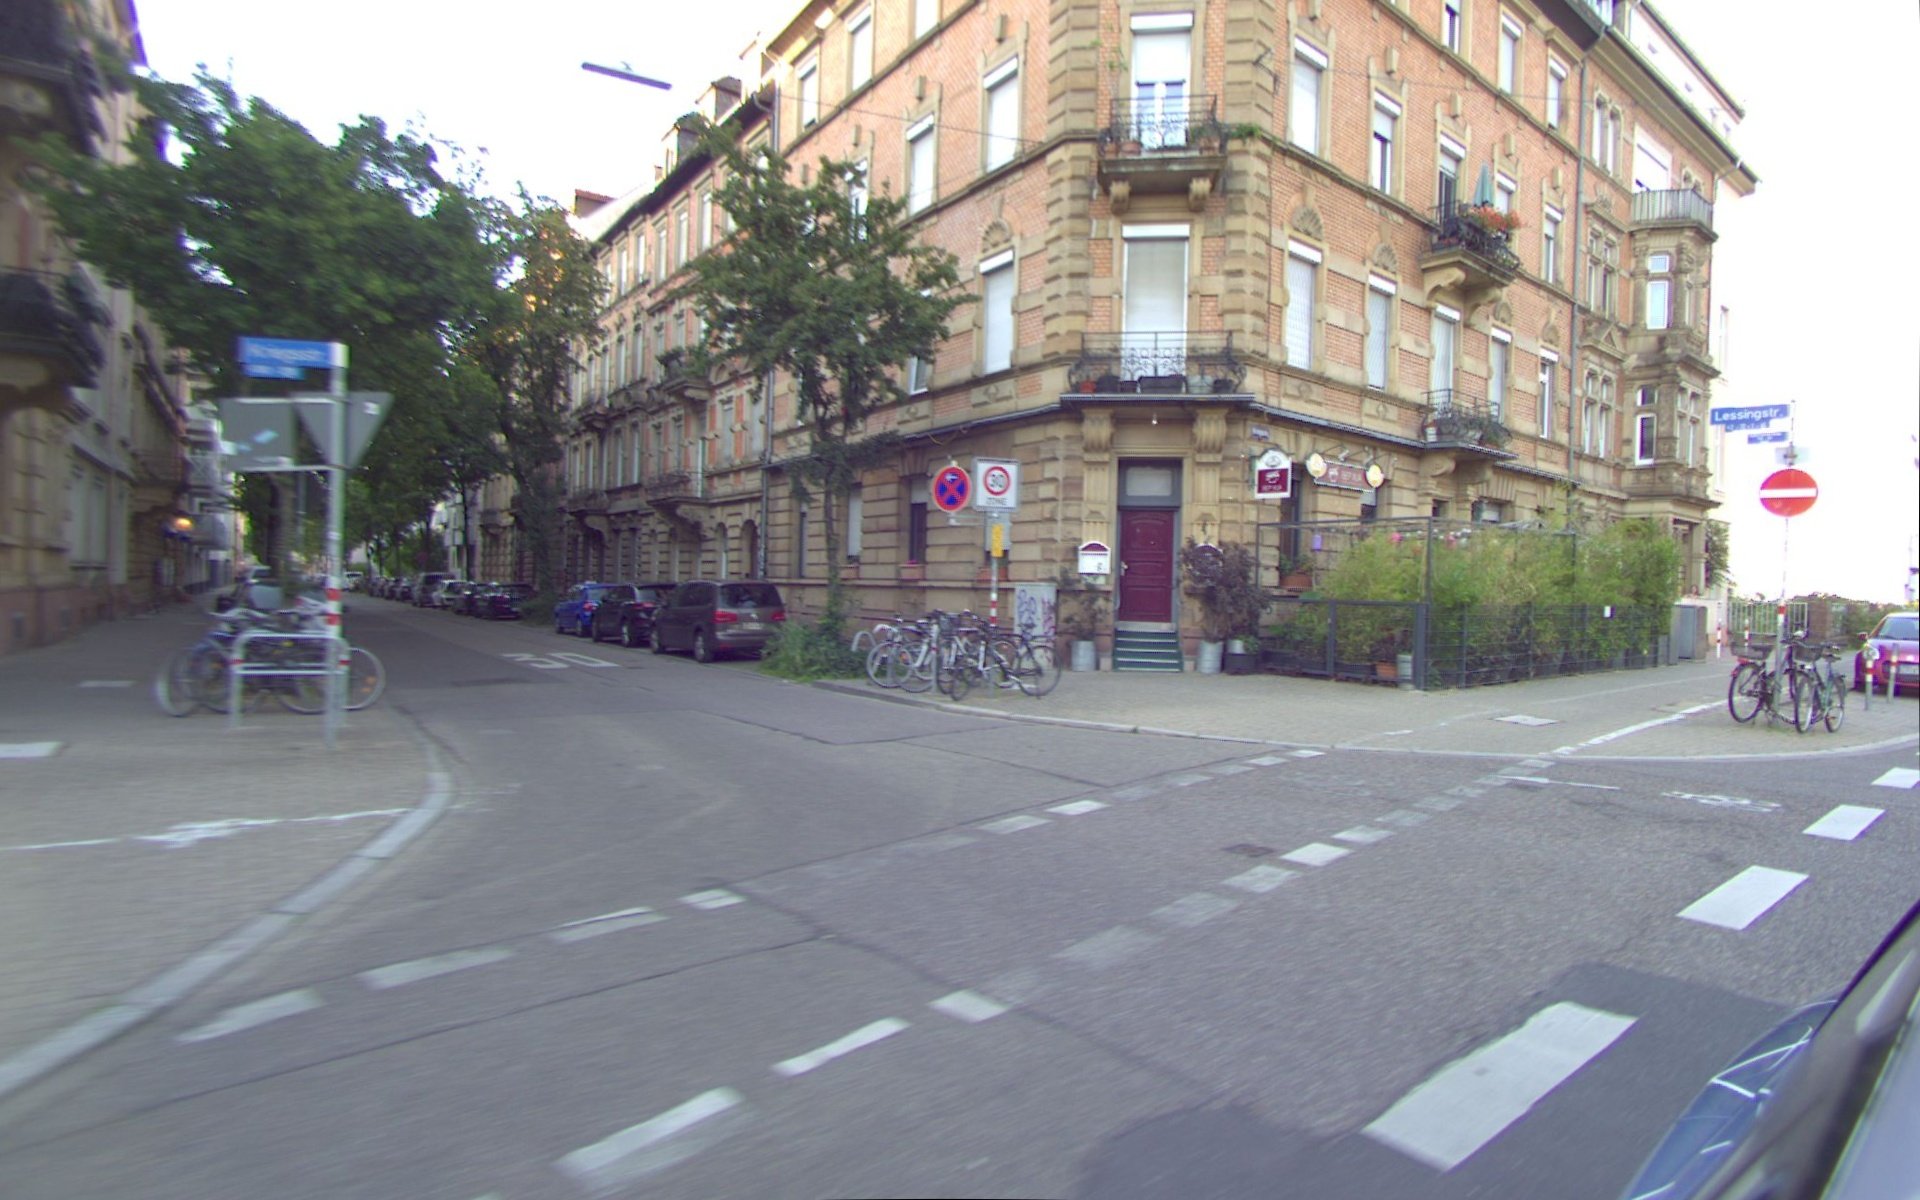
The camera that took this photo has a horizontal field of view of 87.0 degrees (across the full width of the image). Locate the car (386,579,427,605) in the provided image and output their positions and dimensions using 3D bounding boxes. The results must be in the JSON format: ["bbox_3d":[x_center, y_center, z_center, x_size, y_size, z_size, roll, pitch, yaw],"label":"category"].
[{"bbox_3d":[-34.495,-0.520,63.014,1.813,1.499,4.001,1,1,-35],"label":"car"}]

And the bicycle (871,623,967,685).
[{"bbox_3d":[-0.613,0.800,15.273,1.468,0.827,0.295,-2,0,-31],"label":"bicycle"}]

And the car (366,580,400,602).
[{"bbox_3d":[-41.863,-0.666,73.408,1.813,1.499,4.001,1,1,-35],"label":"car"}]

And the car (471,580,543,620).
[{"bbox_3d":[-17.513,-0.039,39.048,1.813,1.436,4.001,1,1,-35],"label":"car"}]

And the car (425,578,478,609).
[{"bbox_3d":[-25.668,-0.344,51.033,1.813,1.499,4.001,1,1,-35],"label":"car"}]

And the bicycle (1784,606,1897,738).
[{"bbox_3d":[10.245,0.776,11.743,2.225,1.314,0.567,-1,6,-41],"label":"bicycle"}]

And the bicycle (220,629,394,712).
[{"bbox_3d":[-6.842,0.751,10.652,1.470,0.828,0.295,5,-4,-40],"label":"bicycle"}]

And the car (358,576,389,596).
[{"bbox_3d":[-46.374,-1.130,79.997,1.813,1.499,4.001,1,1,-35],"label":"car"}]

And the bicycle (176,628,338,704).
[{"bbox_3d":[-8.056,0.769,11.640,1.470,0.828,0.295,5,-4,-40],"label":"bicycle"}]

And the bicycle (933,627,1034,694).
[{"bbox_3d":[0.344,0.826,14.137,1.468,0.827,0.295,-2,0,-31],"label":"bicycle"}]

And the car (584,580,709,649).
[{"bbox_3d":[-7.825,0.304,25.039,1.813,1.542,4.001,1,1,-35],"label":"car"}]

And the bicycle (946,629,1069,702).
[{"bbox_3d":[0.635,0.834,13.144,1.701,0.827,0.295,-2,0,-31],"label":"bicycle"}]

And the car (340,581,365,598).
[{"bbox_3d":[-59.044,-1.016,98.342,1.813,1.499,4.077,1,1,-35],"label":"car"}]

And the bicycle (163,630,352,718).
[{"bbox_3d":[-6.934,0.743,10.056,1.467,0.828,0.296,4,-3,-28],"label":"bicycle"}]

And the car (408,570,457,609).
[{"bbox_3d":[-28.668,-0.582,54.953,1.813,1.996,4.001,1,1,-35],"label":"car"}]

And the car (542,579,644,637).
[{"bbox_3d":[-10.694,0.197,29.347,1.813,1.542,4.001,1,1,-35],"label":"car"}]

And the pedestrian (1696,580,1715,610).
[{"bbox_3d":[21.673,-0.148,29.414,0.313,0.881,0.310,0,-1,-7],"label":"pedestrian"}]

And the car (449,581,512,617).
[{"bbox_3d":[-20.777,-0.076,43.761,1.813,1.436,4.001,1,1,-35],"label":"car"}]

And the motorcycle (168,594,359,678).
[{"bbox_3d":[-10.419,0.555,15.259,2.162,1.137,0.887,4,-3,-21],"label":"motorcycle"}]

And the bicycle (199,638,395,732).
[{"bbox_3d":[-6.195,0.799,9.510,1.470,0.828,0.292,5,-4,-40],"label":"bicycle"}]

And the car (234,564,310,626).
[{"bbox_3d":[-22.703,-0.198,33.408,1.944,1.893,4.001,1,1,-35],"label":"car"}]

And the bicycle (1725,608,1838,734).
[{"bbox_3d":[9.895,0.800,12.159,2.225,1.290,0.567,-1,6,-41],"label":"bicycle"}]

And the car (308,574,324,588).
[{"bbox_3d":[-93.786,-2.803,147.296,1.813,1.913,4.001,1,1,-35],"label":"car"}]

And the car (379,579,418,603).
[{"bbox_3d":[-37.400,-0.607,67.362,1.813,1.499,4.001,1,1,-35],"label":"car"}]

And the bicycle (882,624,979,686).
[{"bbox_3d":[-0.431,0.804,15.004,1.468,0.827,0.295,-2,0,-31],"label":"bicycle"}]

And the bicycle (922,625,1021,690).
[{"bbox_3d":[0.175,0.800,14.407,1.468,0.827,0.295,-2,0,-31],"label":"bicycle"}]

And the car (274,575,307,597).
[{"bbox_3d":[-43.206,-0.939,65.254,1.670,1.351,4.001,1,1,-35],"label":"car"}]

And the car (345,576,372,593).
[{"bbox_3d":[-54.939,-1.411,92.436,1.813,1.499,4.001,1,1,-35],"label":"car"}]

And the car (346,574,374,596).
[{"bbox_3d":[-52.007,-1.302,87.735,1.813,1.859,4.001,1,1,-35],"label":"car"}]

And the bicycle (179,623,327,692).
[{"bbox_3d":[-8.907,0.738,12.791,1.470,0.828,0.295,5,-4,-40],"label":"bicycle"}]

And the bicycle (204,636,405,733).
[{"bbox_3d":[-5.949,0.772,9.240,1.470,0.828,0.292,5,-4,-40],"label":"bicycle"}]

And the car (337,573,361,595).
[{"bbox_3d":[-63.281,-1.674,104.779,1.813,2.261,4.001,1,1,-35],"label":"car"}]

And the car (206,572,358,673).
[{"bbox_3d":[-12.235,0.352,18.232,1.962,1.527,4.000,5,-1,-36],"label":"car"}]

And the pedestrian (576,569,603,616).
[{"bbox_3d":[-13.392,-0.273,36.570,0.783,1.691,0.589,1,0,-37],"label":"pedestrian"}]

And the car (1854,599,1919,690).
[{"bbox_3d":[17.738,0.817,18.282,3.482,1.482,1.731,1,4,-39],"label":"car"}]

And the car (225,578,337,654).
[{"bbox_3d":[-14.926,0.280,22.200,1.878,1.475,4.000,1,1,-36],"label":"car"}]

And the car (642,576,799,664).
[{"bbox_3d":[-5.060,0.338,21.006,1.813,1.626,4.001,1,1,-35],"label":"car"}]
